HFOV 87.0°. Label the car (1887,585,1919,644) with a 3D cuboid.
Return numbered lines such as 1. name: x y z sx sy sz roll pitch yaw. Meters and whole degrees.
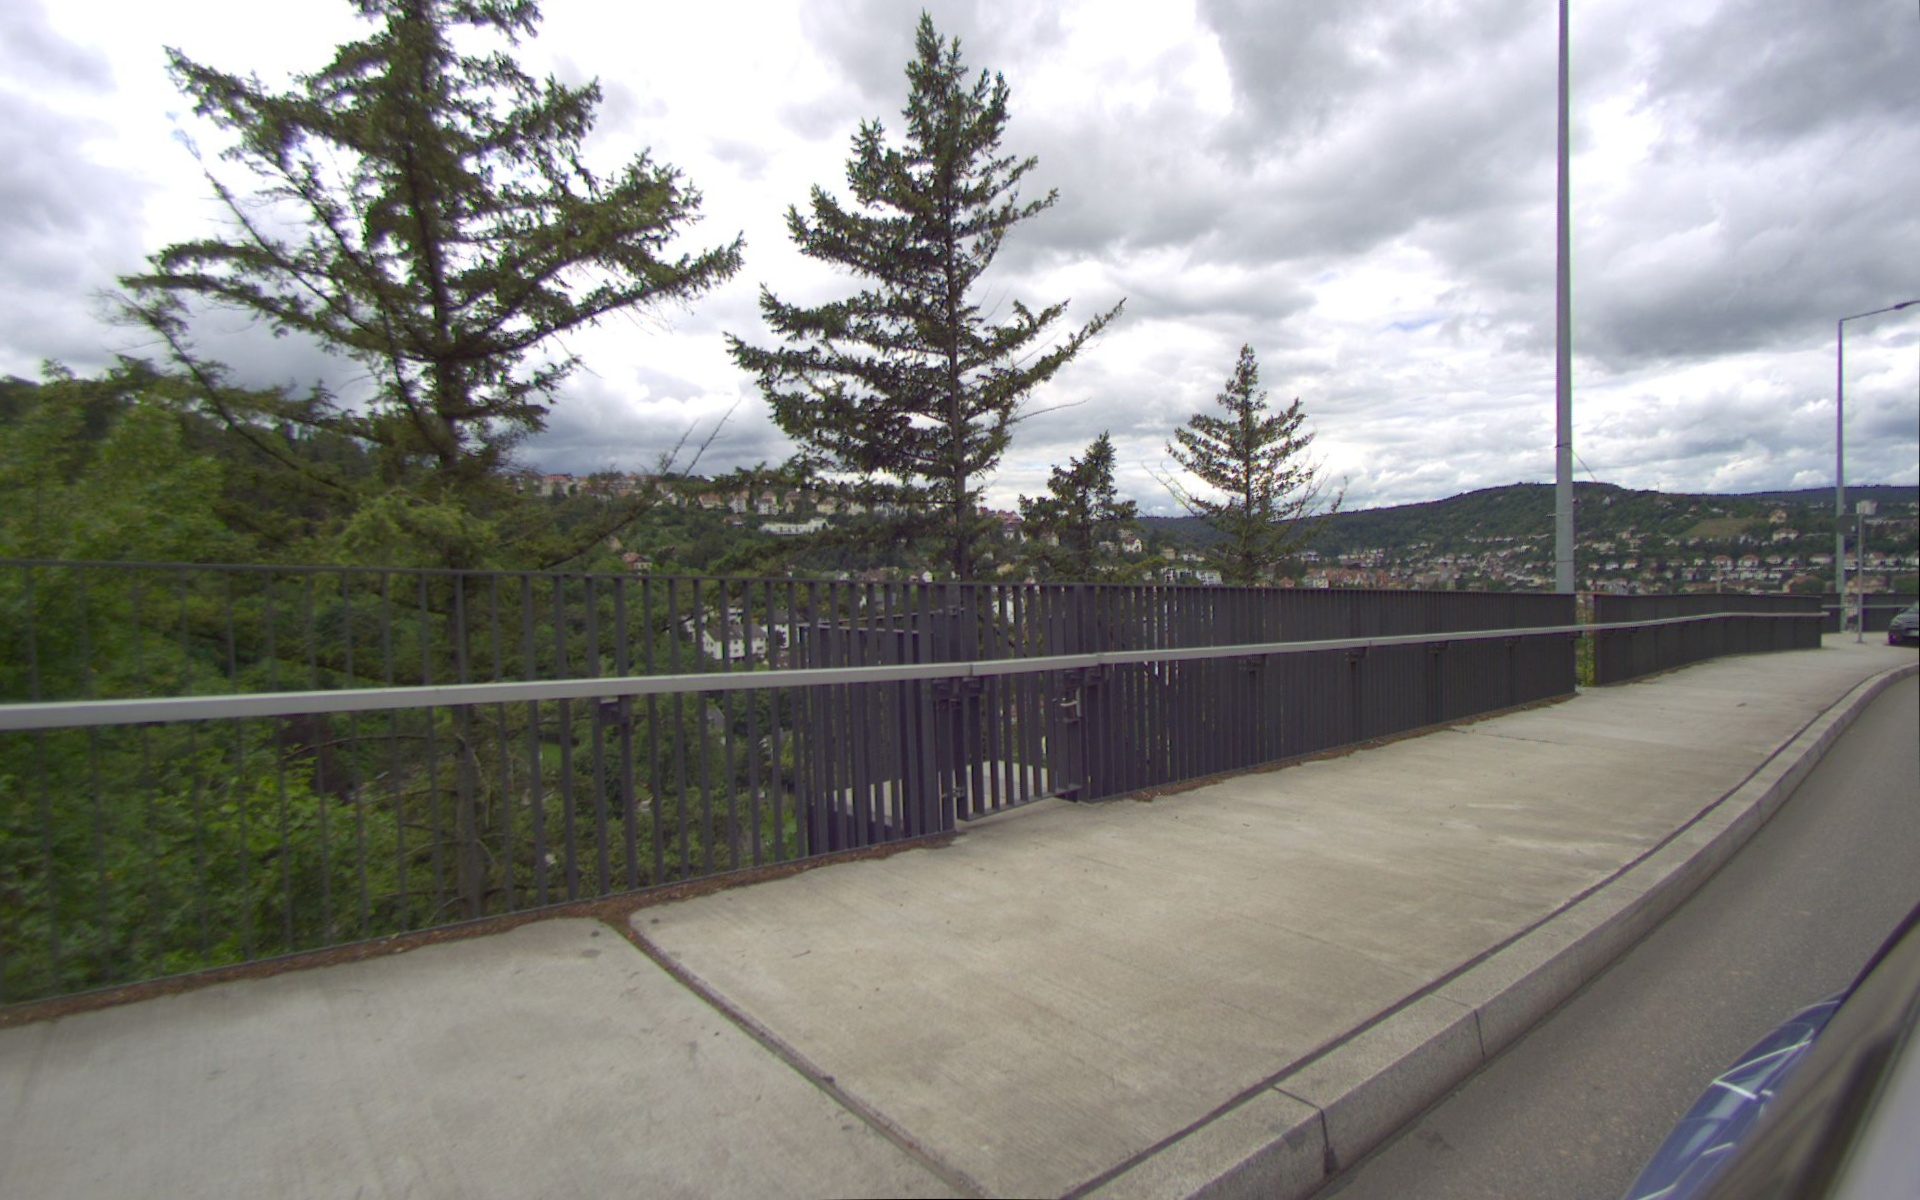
1. car: 27.686 0.404 27.923 4.007 1.562 1.884 0 2 -28
